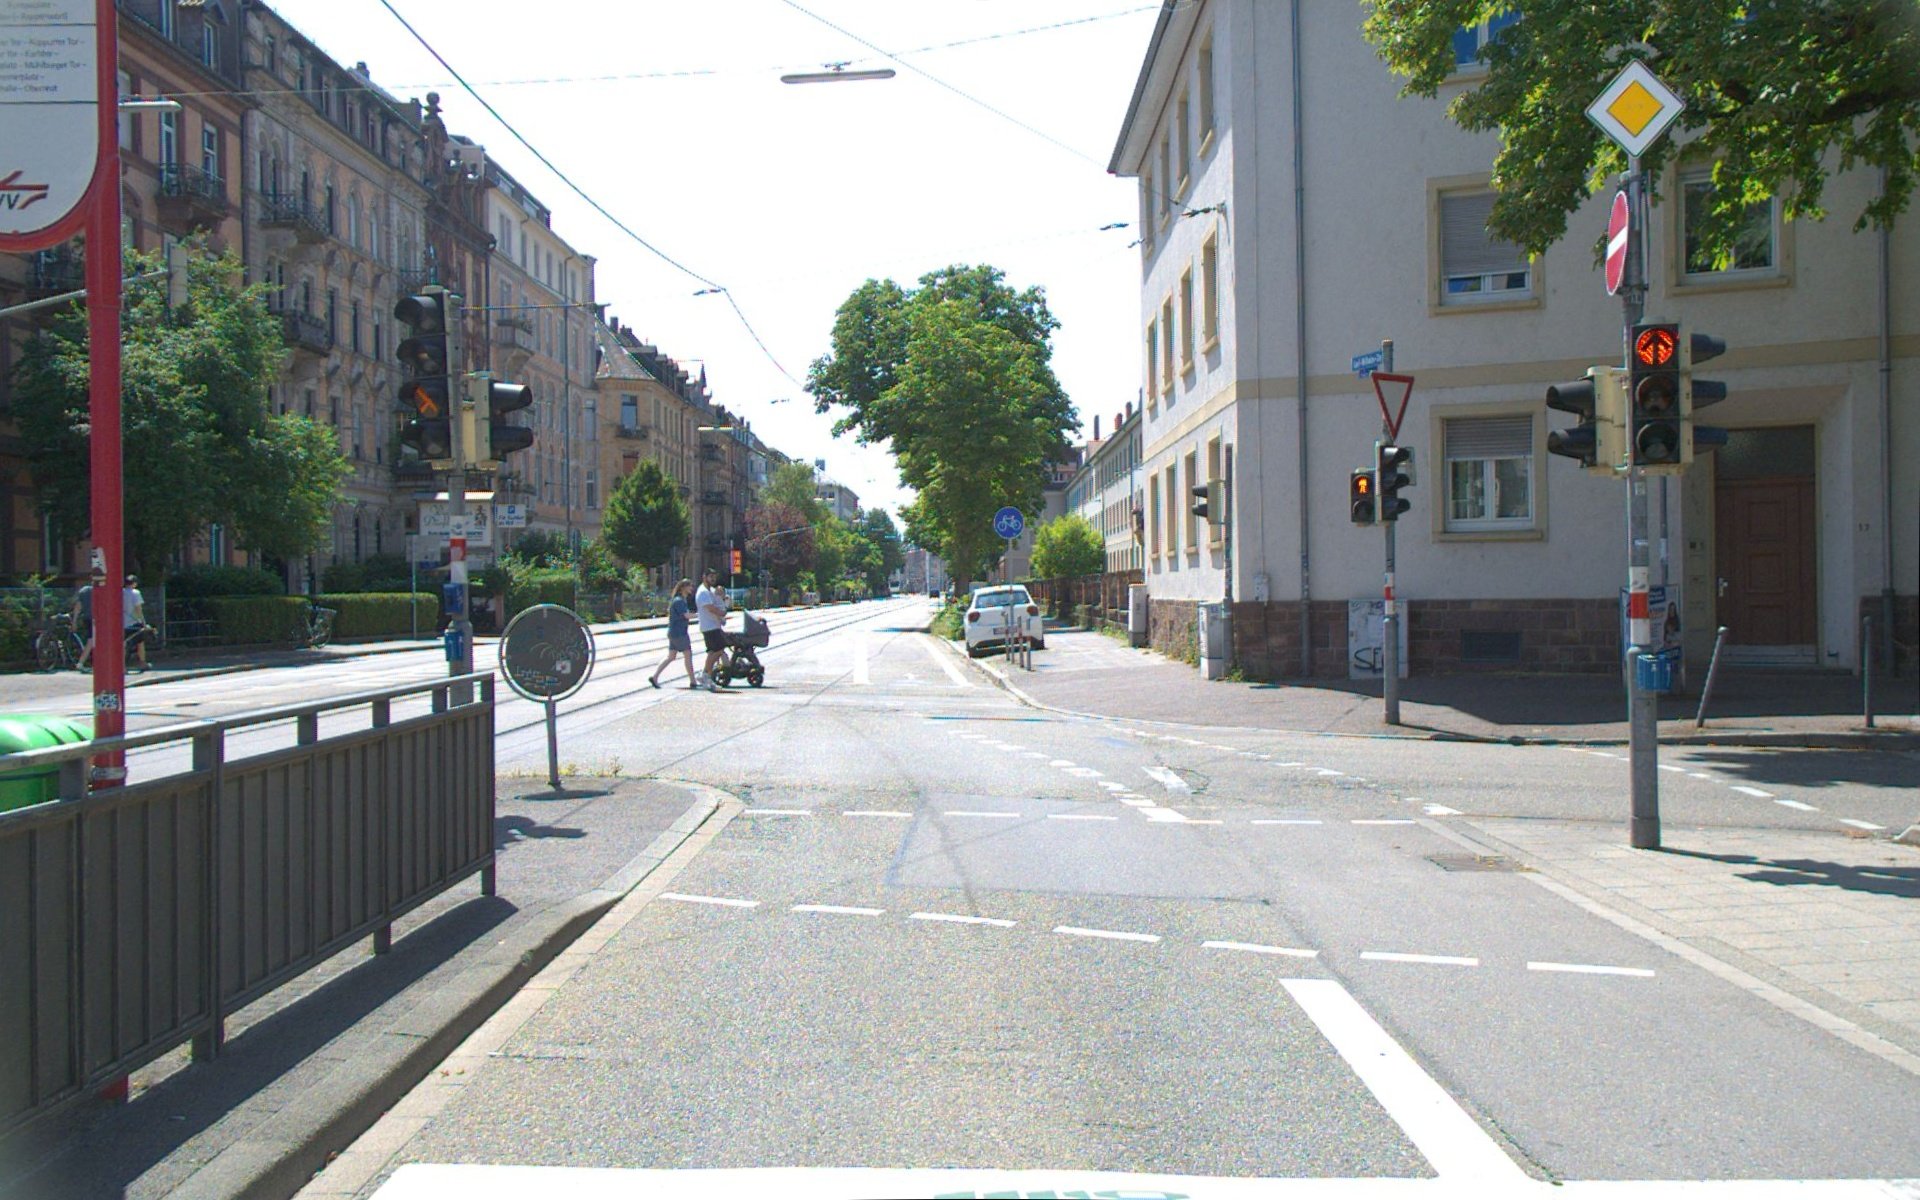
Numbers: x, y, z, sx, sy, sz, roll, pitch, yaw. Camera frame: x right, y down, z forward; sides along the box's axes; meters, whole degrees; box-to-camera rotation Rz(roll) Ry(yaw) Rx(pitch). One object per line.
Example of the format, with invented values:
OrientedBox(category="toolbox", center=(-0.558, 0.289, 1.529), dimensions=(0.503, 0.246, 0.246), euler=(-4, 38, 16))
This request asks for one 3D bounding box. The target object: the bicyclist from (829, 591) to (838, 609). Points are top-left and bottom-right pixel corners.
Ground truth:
OrientedBox(category="bicyclist", center=(-12.157, 0.019, 158.520), dimensions=(0.712, 1.657, 1.079), euler=(1, 0, 1))

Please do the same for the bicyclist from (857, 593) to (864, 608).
OrientedBox(category="bicyclist", center=(-12.170, 0.028, 201.698), dimensions=(0.712, 1.850, 1.079), euler=(1, 0, 1))

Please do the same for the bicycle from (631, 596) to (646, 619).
OrientedBox(category="bicycle", center=(-15.503, 0.338, 79.782), dimensions=(0.665, 1.083, 1.913), euler=(-1, 0, -12))

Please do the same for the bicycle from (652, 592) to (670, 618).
OrientedBox(category="bicycle", center=(-15.281, 0.252, 84.430), dimensions=(0.664, 1.301, 1.917), euler=(-1, 0, -4))

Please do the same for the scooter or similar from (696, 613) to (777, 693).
OrientedBox(category="scooter or similar", center=(-3.374, 0.791, 24.966), dimensions=(1.179, 1.175, 0.557), euler=(1, -1, -8))

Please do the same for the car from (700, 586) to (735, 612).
OrientedBox(category="car", center=(-16.883, -0.052, 115.307), dimensions=(1.880, 1.745, 3.999), euler=(1, 0, -1))

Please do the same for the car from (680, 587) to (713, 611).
OrientedBox(category="car", center=(-19.684, -0.065, 123.601), dimensions=(1.880, 1.745, 3.999), euler=(1, 0, -1))

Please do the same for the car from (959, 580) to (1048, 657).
OrientedBox(category="car", center=(0.927, 0.400, 37.336), dimensions=(1.778, 1.542, 3.999), euler=(-3, 0, -1))

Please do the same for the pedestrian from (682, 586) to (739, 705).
OrientedBox(category="pedestrian", center=(-3.587, 0.649, 23.844), dimensions=(0.660, 1.674, 0.559), euler=(1, -1, 7))

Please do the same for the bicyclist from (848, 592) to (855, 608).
OrientedBox(category="bicyclist", center=(-11.997, -0.018, 183.168), dimensions=(0.712, 1.799, 1.079), euler=(1, 0, 1))

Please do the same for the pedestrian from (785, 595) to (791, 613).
OrientedBox(category="pedestrian", center=(-14.476, 0.315, 139.286), dimensions=(0.398, 1.486, 0.436), euler=(-1, 0, -1))

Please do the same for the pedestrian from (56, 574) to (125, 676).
OrientedBox(category="pedestrian", center=(-16.106, 0.450, 30.653), dimensions=(0.799, 1.854, 0.873), euler=(1, 1, -1))

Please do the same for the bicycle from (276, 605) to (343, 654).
OrientedBox(category="bicycle", center=(-15.897, 0.702, 40.507), dimensions=(0.920, 1.156, 2.767), euler=(1, 0, -9))

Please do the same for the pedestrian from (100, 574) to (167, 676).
OrientedBox(category="pedestrian", center=(-15.349, 0.457, 30.735), dimensions=(0.799, 1.854, 0.873), euler=(1, 1, -1))

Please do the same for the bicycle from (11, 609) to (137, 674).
OrientedBox(category="bicycle", center=(-16.712, 0.762, 31.299), dimensions=(0.918, 1.156, 2.773), euler=(1, 0, -2))

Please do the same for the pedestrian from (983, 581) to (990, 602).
OrientedBox(category="pedestrian", center=(1.970, -0.637, 122.947), dimensions=(0.511, 1.590, 0.573), euler=(-1, 0, -1))

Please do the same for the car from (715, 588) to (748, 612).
OrientedBox(category="car", center=(-17.052, -0.020, 123.568), dimensions=(1.880, 1.745, 3.999), euler=(1, 0, -1))

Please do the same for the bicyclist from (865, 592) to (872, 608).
OrientedBox(category="bicyclist", center=(-11.184, 0.001, 201.652), dimensions=(0.712, 1.850, 1.079), euler=(1, 0, 1))

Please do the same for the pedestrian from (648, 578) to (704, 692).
OrientedBox(category="pedestrian", center=(-4.251, 0.523, 24.800), dimensions=(0.660, 1.674, 0.559), euler=(1, -1, 7))
